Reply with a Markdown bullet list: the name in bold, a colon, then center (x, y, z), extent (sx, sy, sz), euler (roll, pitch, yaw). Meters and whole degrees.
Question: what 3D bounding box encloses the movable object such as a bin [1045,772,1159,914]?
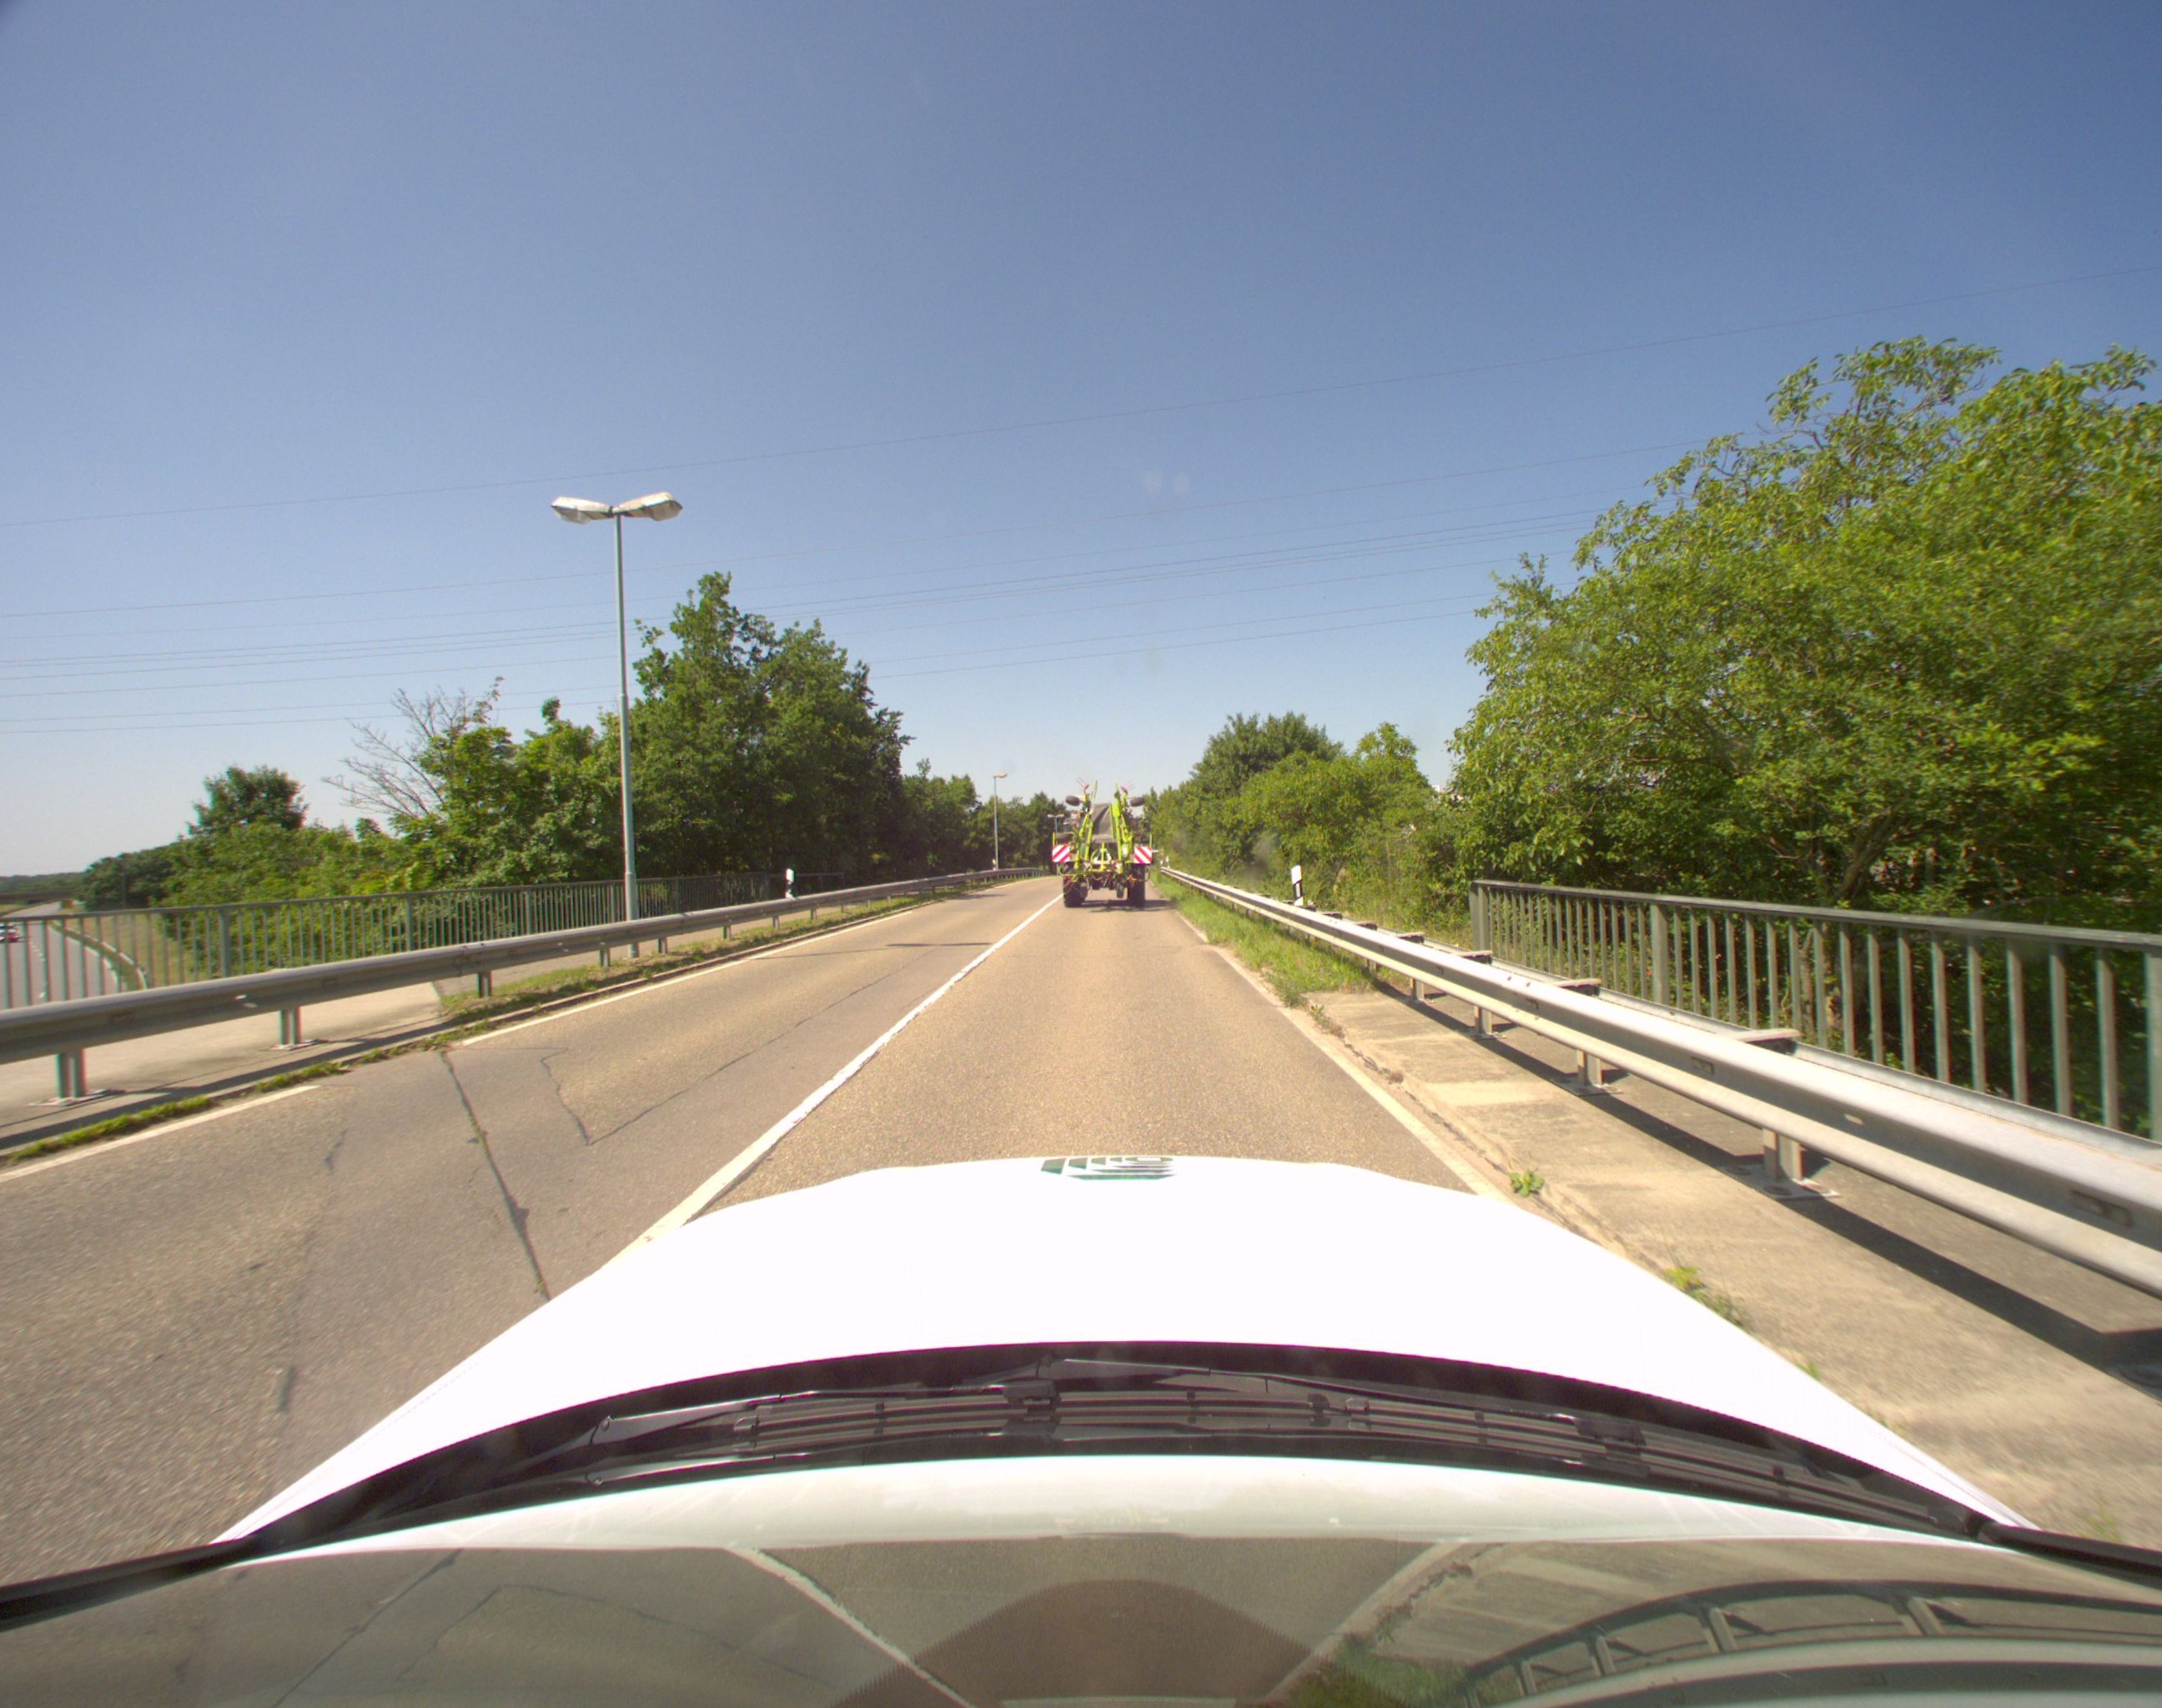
- **movable object such as a bin**: center (0.644, -0.288, 22.894), extent (2.744, 3.444, 5.673), euler (-1, 0, 2)
